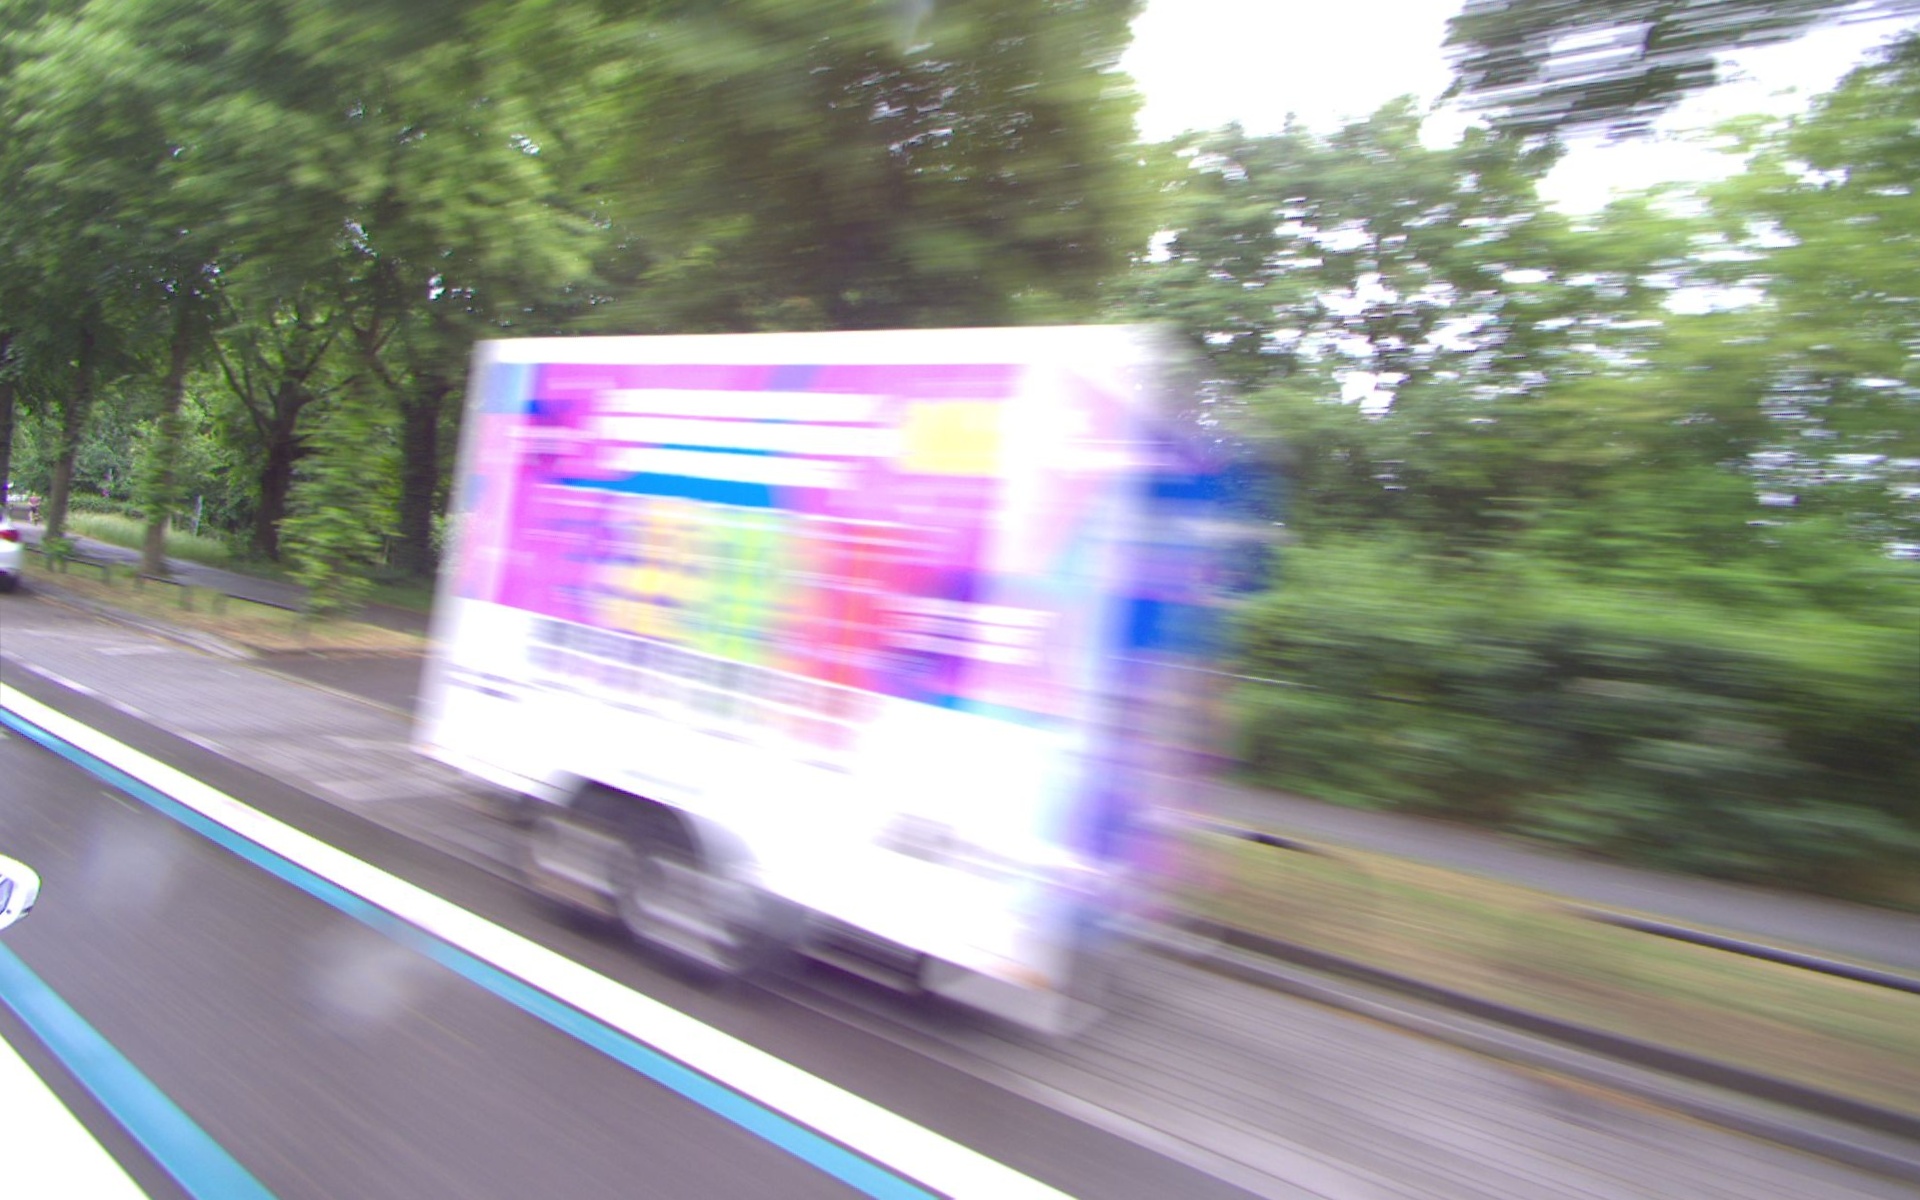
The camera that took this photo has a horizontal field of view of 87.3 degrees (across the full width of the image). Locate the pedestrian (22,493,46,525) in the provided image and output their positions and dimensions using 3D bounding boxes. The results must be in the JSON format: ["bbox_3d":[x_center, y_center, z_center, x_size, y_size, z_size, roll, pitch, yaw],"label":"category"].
[{"bbox_3d":[-55.610,-5.478,60.395,0.885,1.753,1.132,8,-1,-44],"label":"pedestrian"}]

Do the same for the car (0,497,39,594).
[{"bbox_3d":[-16.902,-1.119,16.428,4.579,1.444,1.861,6,-3,38],"label":"car"}]

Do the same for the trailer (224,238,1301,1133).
[{"bbox_3d":[-1.296,0.104,5.423,5.288,2.703,2.320,7,-1,32],"label":"trailer"}]
